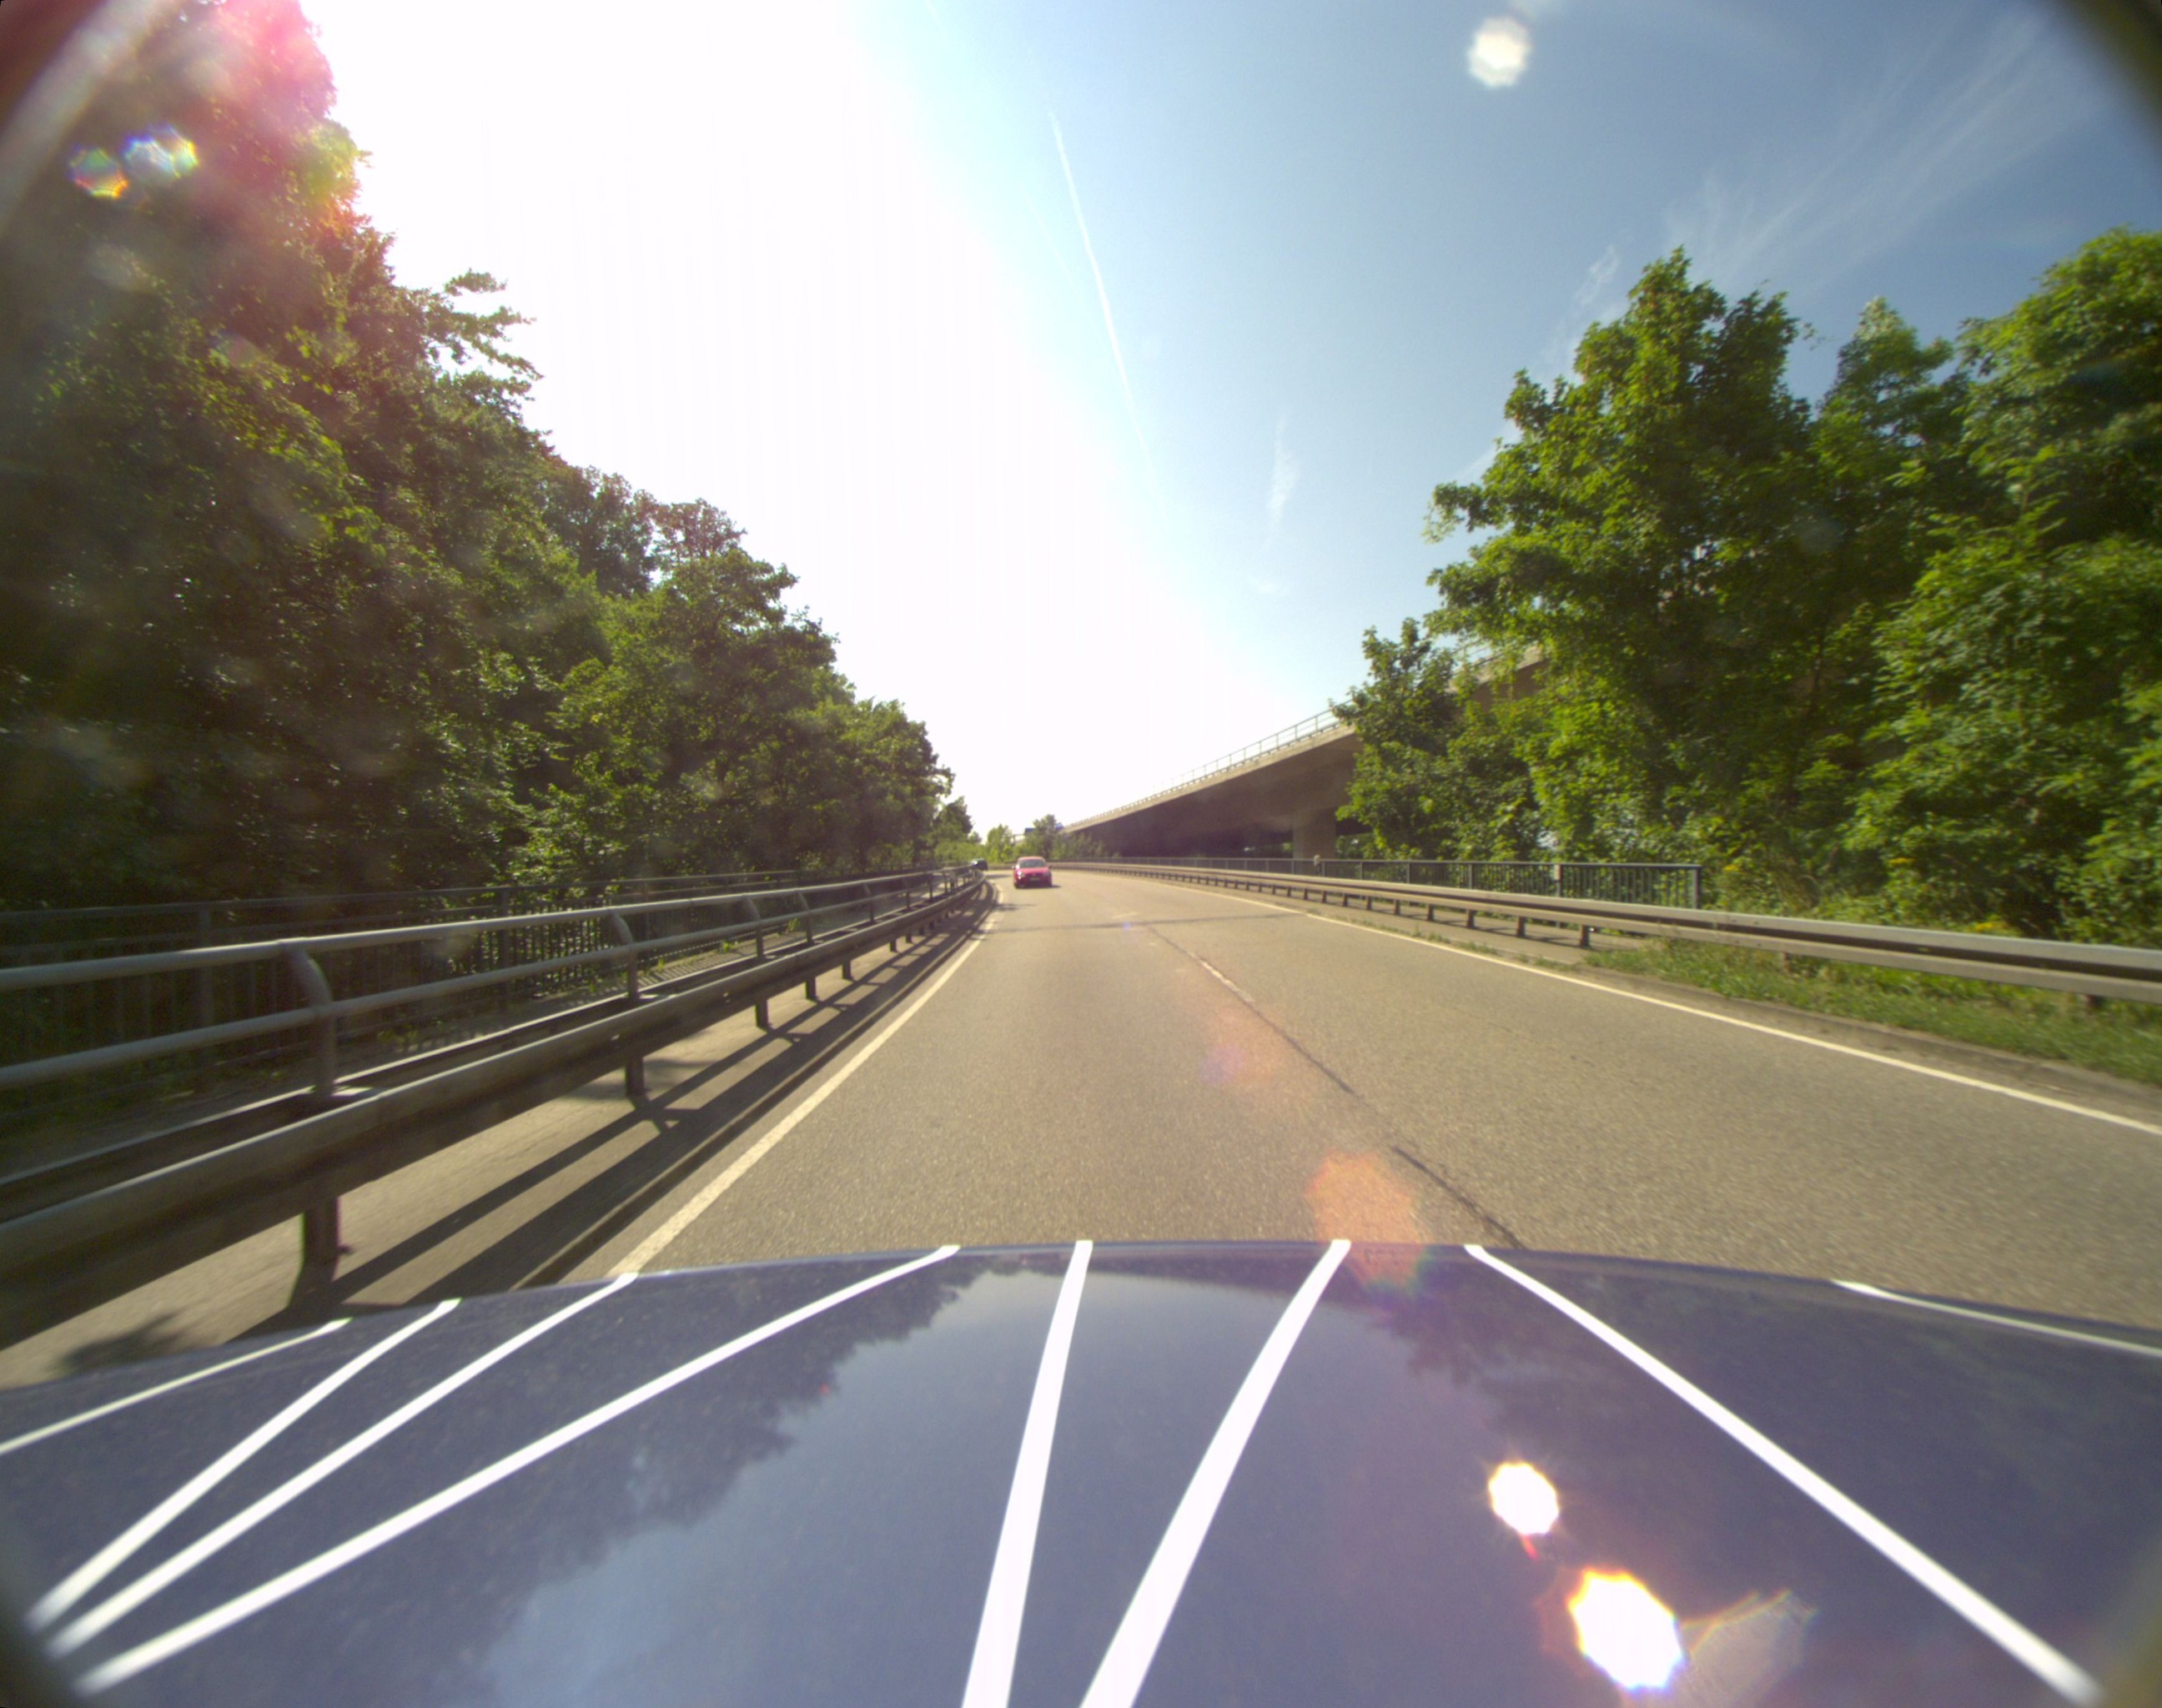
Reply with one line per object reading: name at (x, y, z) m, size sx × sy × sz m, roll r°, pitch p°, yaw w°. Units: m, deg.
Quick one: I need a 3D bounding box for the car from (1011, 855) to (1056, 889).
car at (-2.409, 0.849, 37.752) m, size 1.817 × 1.488 × 4.282 m, roll -3°, pitch 1°, yaw -8°

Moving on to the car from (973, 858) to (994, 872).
car at (-12.520, 1.347, 97.327) m, size 1.905 × 1.572 × 4.547 m, roll -3°, pitch 1°, yaw -16°
